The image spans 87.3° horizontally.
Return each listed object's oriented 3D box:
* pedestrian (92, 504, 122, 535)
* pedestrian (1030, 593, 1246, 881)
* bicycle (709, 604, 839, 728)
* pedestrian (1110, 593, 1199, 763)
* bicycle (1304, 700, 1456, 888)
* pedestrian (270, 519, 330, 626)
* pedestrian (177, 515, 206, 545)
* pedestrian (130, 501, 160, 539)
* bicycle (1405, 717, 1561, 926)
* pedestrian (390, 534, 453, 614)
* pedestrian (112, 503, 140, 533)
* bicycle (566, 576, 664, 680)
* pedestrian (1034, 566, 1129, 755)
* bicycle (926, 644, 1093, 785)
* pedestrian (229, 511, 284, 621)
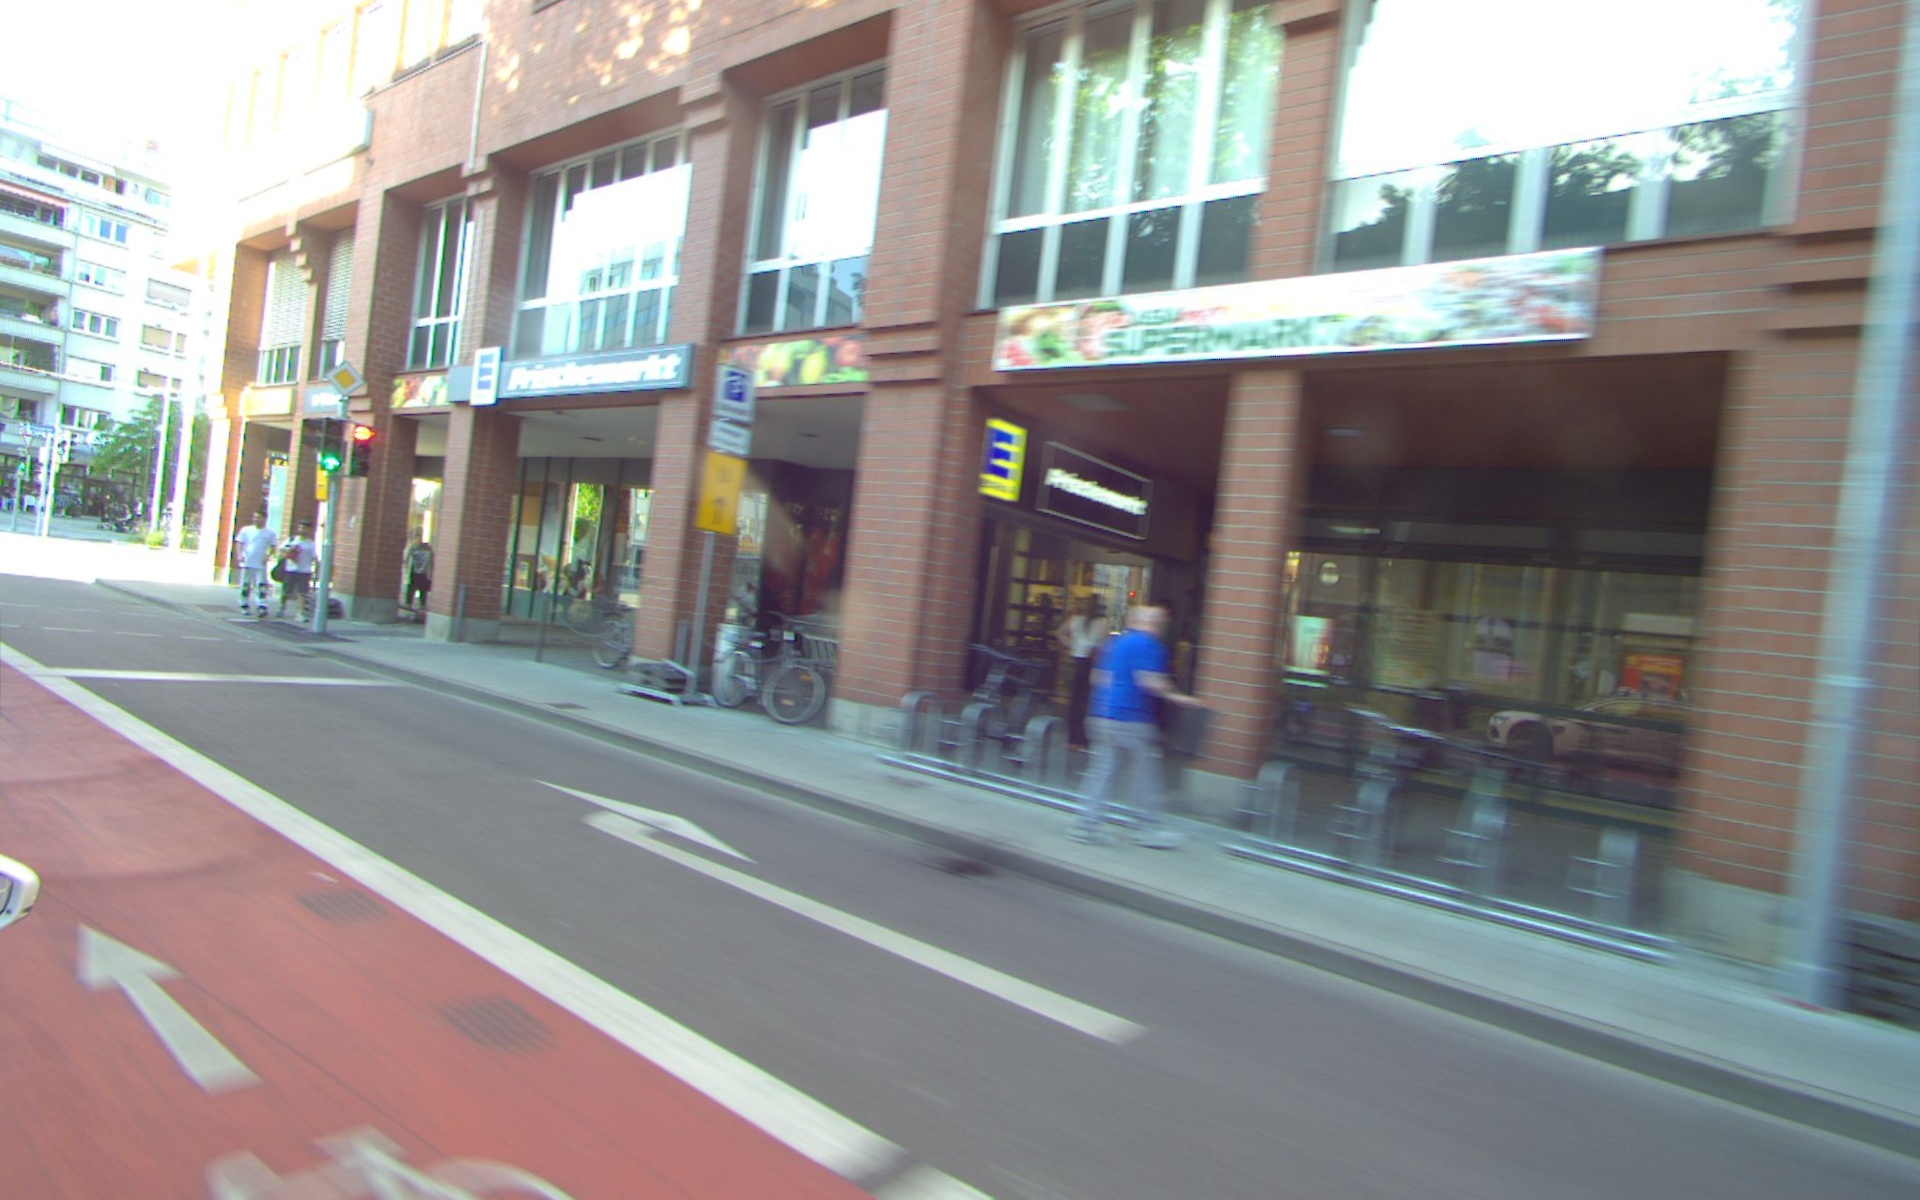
[{"bbox_3d":[-44.045,-4.138,51.941,0.710,1.464,0.926,7,0,-16],"label":"pedestrian"},{"bbox_3d":[1.252,0.878,6.972,1.176,1.718,0.884,6,2,20],"label":"pedestrian"},{"bbox_3d":[-2.151,0.726,11.469,1.653,1.198,0.339,7,0,39],"label":"bicycle"},{"bbox_3d":[2.220,0.884,11.445,0.599,1.818,0.659,7,0,33],"label":"pedestrian"},{"bbox_3d":[3.087,1.322,7.282,0.467,1.133,1.891,7,0,37],"label":"bicycle"},{"bbox_3d":[-11.415,-0.477,17.421,0.628,1.746,0.626,7,0,-25],"label":"pedestrian"},{"bbox_3d":[-40.278,-3.683,52.754,1.089,1.381,0.720,7,0,29],"label":"pedestrian"},{"bbox_3d":[-44.574,-4.381,55.030,0.677,1.889,1.041,7,0,39],"label":"pedestrian"},{"bbox_3d":[3.602,1.409,6.842,0.542,1.133,1.891,7,0,37],"label":"bicycle"},{"bbox_3d":[-11.504,-0.539,21.522,0.741,1.609,0.846,7,0,-3],"label":"pedestrian"},{"bbox_3d":[-43.040,-4.222,51.916,0.711,1.437,0.924,7,0,-21],"label":"pedestrian"},{"bbox_3d":[-4.882,0.379,14.172,1.685,1.271,0.339,7,0,39],"label":"bicycle"},{"bbox_3d":[1.385,0.681,11.439,0.650,2.038,0.608,7,0,31],"label":"pedestrian"},{"bbox_3d":[0.508,1.045,9.350,0.467,1.133,1.891,7,0,37],"label":"bicycle"},{"bbox_3d":[-12.111,-0.591,17.312,0.533,1.814,0.476,7,0,37],"label":"pedestrian"}]
